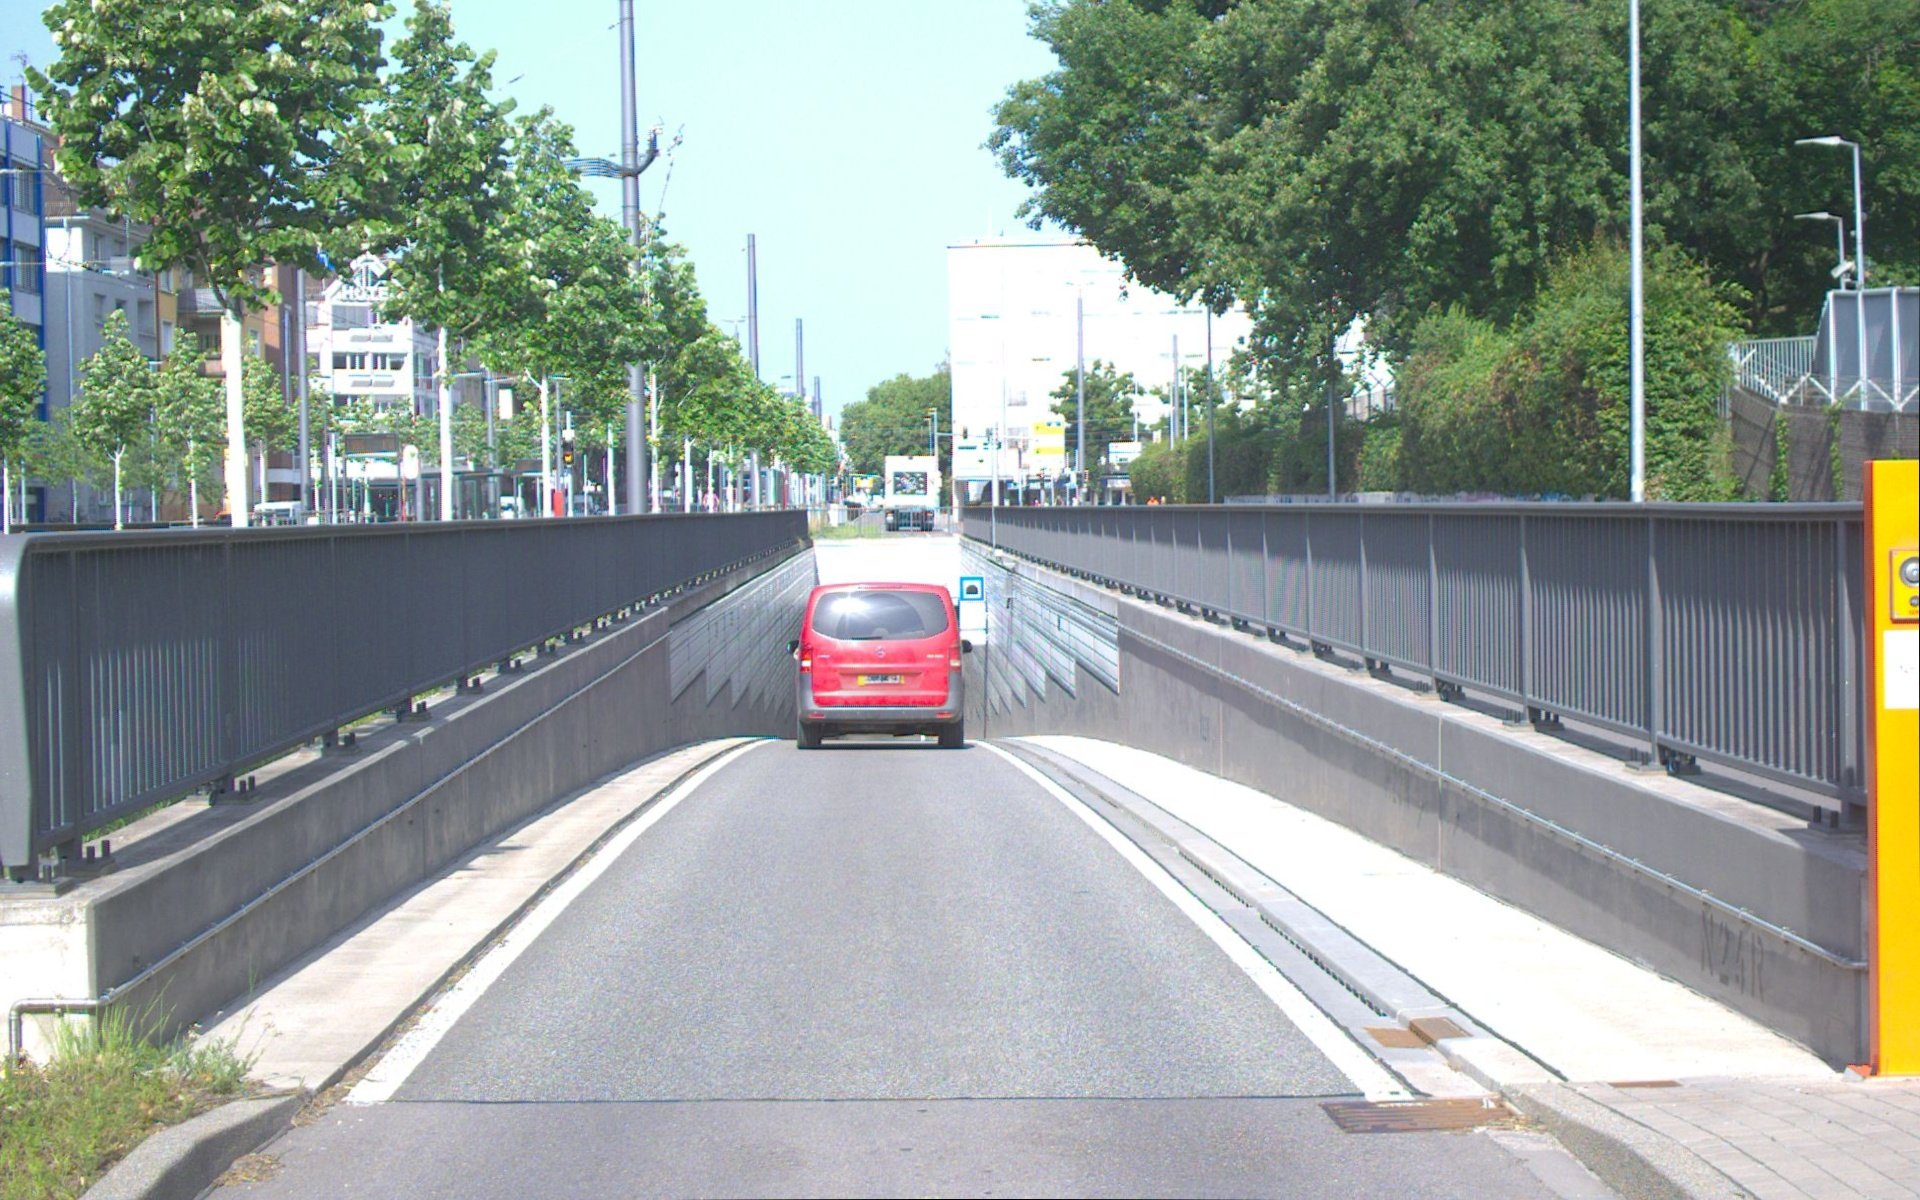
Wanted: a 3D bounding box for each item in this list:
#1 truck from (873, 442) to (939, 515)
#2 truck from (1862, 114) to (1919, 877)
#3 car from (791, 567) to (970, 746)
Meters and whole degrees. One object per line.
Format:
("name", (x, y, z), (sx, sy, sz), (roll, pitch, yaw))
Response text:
("truck", (-2.928, -6.431, 183.426), (3.390, 3.713, 10.453), (-1, 2, -1))
("truck", (5.220, -0.334, 10.513), (2.502, 3.050, 7.821), (1, 1, -2))
("car", (-0.865, 0.601, 39.622), (1.901, 1.853, 4.000), (1, 2, 1))
